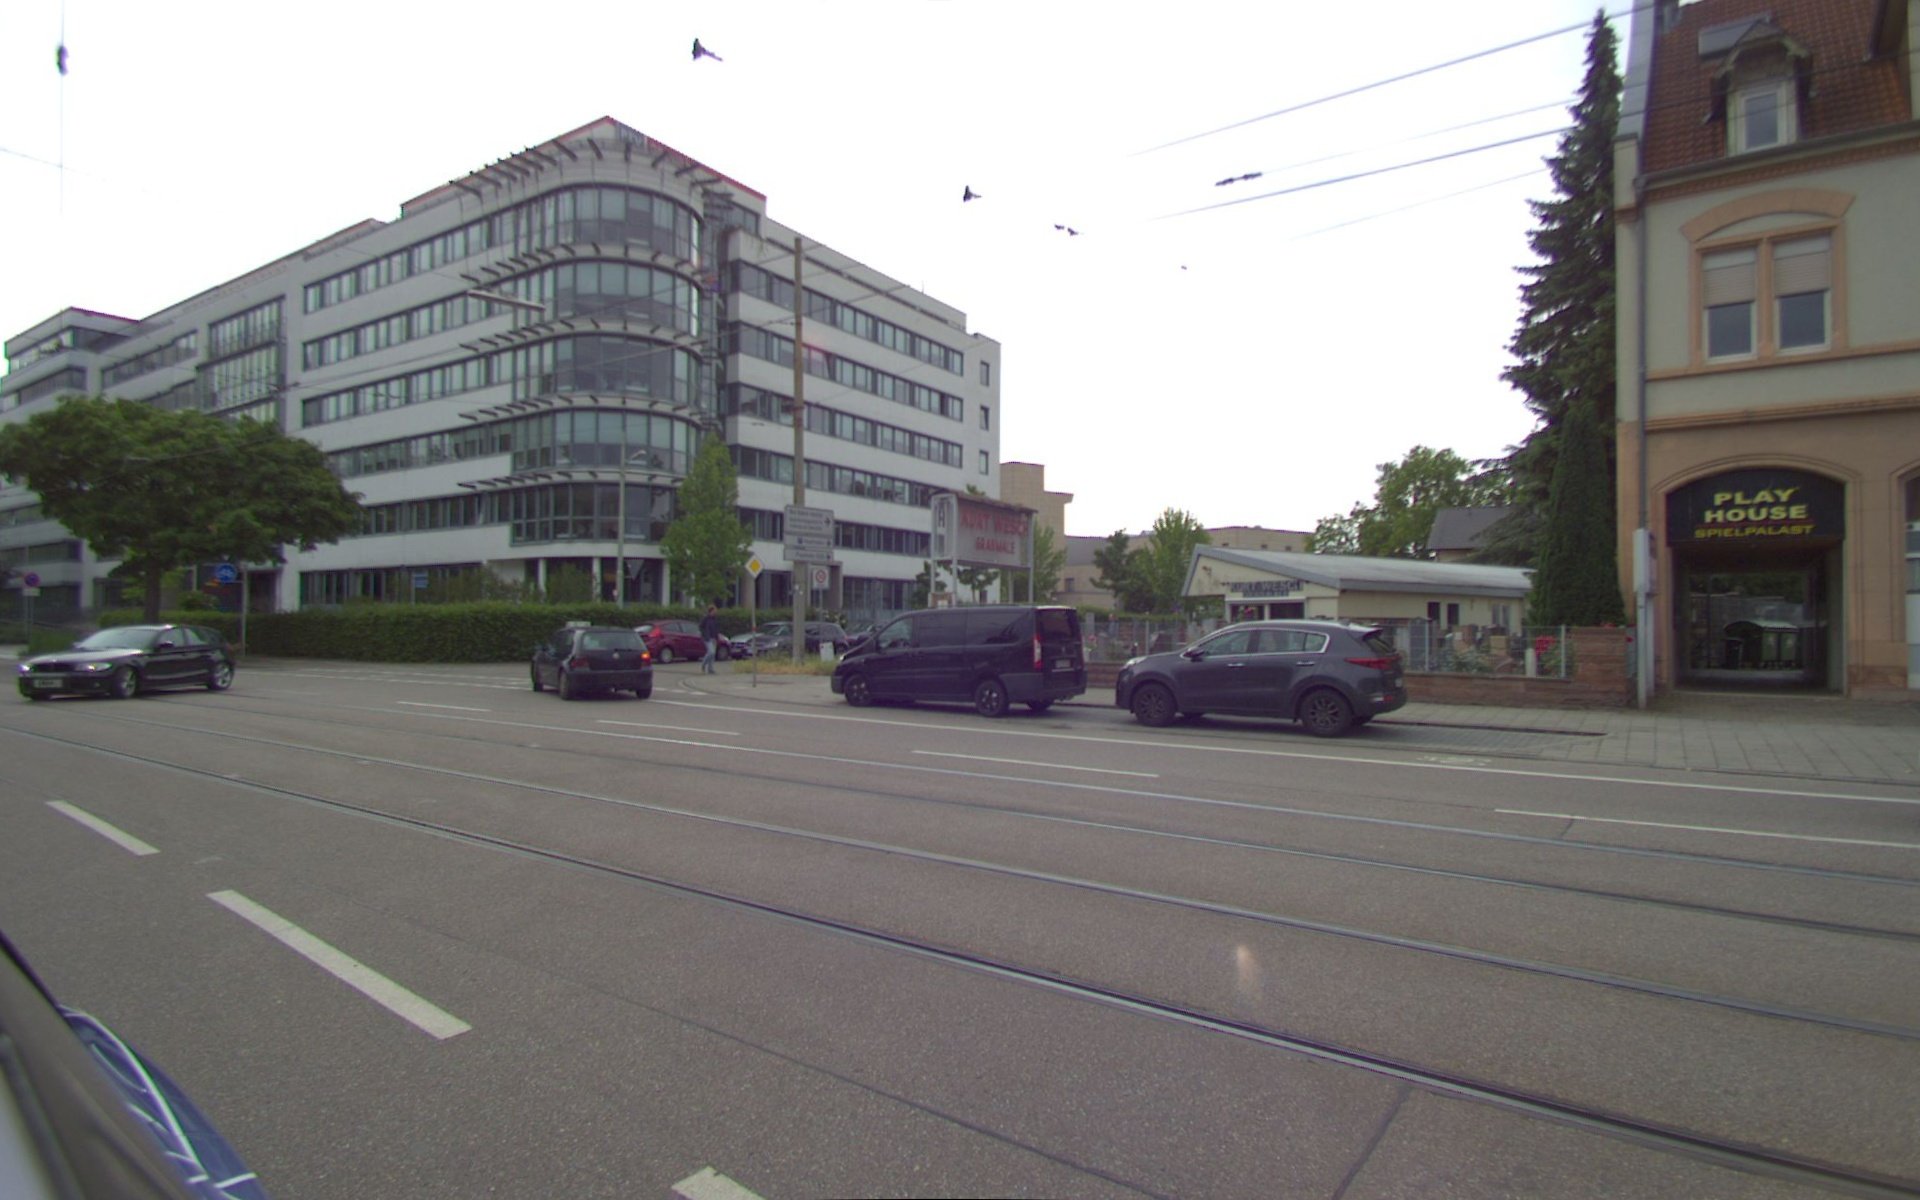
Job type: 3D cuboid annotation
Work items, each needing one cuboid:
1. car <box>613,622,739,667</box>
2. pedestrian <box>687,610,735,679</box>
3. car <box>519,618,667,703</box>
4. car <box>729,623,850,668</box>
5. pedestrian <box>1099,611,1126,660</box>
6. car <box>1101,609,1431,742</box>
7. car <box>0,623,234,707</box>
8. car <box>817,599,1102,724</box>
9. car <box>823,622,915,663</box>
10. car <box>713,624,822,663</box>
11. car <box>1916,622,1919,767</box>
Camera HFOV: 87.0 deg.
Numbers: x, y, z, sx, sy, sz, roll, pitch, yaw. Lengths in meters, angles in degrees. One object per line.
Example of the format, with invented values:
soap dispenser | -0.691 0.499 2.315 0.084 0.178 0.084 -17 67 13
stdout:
car | -9.638 1.490 34.577 1.721 1.433 3.972 -3 -3 34
pedestrian | -6.724 1.179 27.331 1.058 1.839 0.796 -1 -1 38
car | -7.580 1.200 20.691 1.766 1.542 4.151 4 -4 -35
car | -5.777 1.531 34.710 1.813 1.462 3.937 -1 -2 37
pedestrian | 5.676 1.302 37.680 0.761 1.787 0.627 -1 -1 40
car | 4.710 1.073 15.813 4.523 1.762 2.020 -2 0 35
car | -16.301 1.172 19.499 1.762 1.379 4.114 0 -1 -2
car | -0.115 1.028 18.888 5.174 2.029 1.969 0 0 36
car | -3.856 1.761 43.316 1.993 1.663 3.957 0 -1 31
car | -7.195 1.605 38.112 1.774 1.359 4.003 0 -1 33
car | 9.432 0.866 6.226 4.802 1.484 1.890 0 -3 31
